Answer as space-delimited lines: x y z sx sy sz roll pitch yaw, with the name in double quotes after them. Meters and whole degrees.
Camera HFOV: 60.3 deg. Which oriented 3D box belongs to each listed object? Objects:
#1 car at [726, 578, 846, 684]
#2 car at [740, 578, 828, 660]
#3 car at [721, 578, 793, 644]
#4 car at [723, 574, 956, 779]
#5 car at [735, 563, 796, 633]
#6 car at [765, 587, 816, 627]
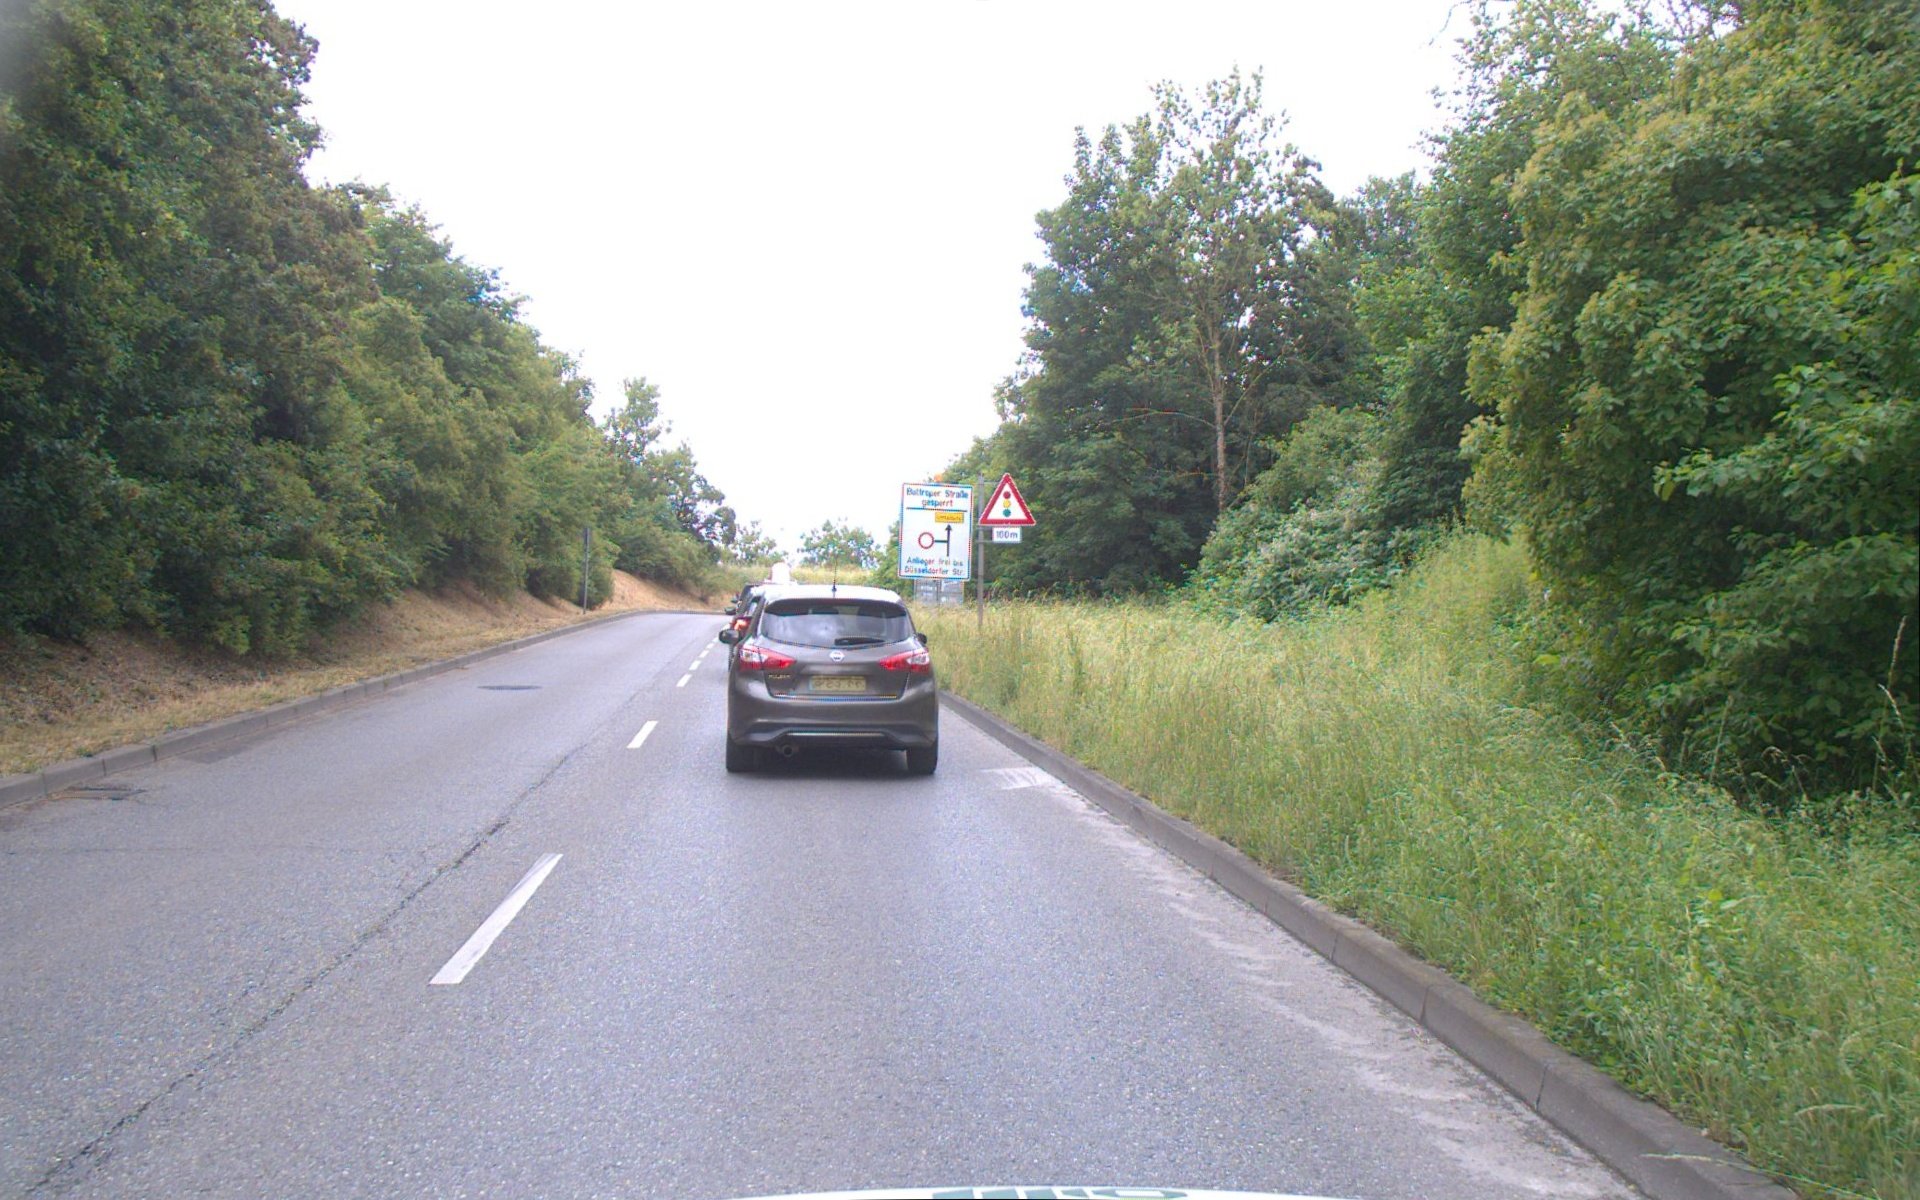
-2.812 0.450 26.795 1.795 1.583 3.620 0 0 -6 "car"
-3.617 0.355 34.061 1.702 1.583 3.539 0 0 -6 "car"
-5.019 0.241 41.257 1.702 1.583 3.539 0 0 -6 "car"
-1.123 0.588 14.638 1.795 1.583 3.494 1 0 -7 "car"
-5.675 -0.080 48.418 1.702 1.968 3.539 0 0 -6 "car"
-6.909 0.270 67.723 1.700 1.553 3.641 0 0 0 "car"
